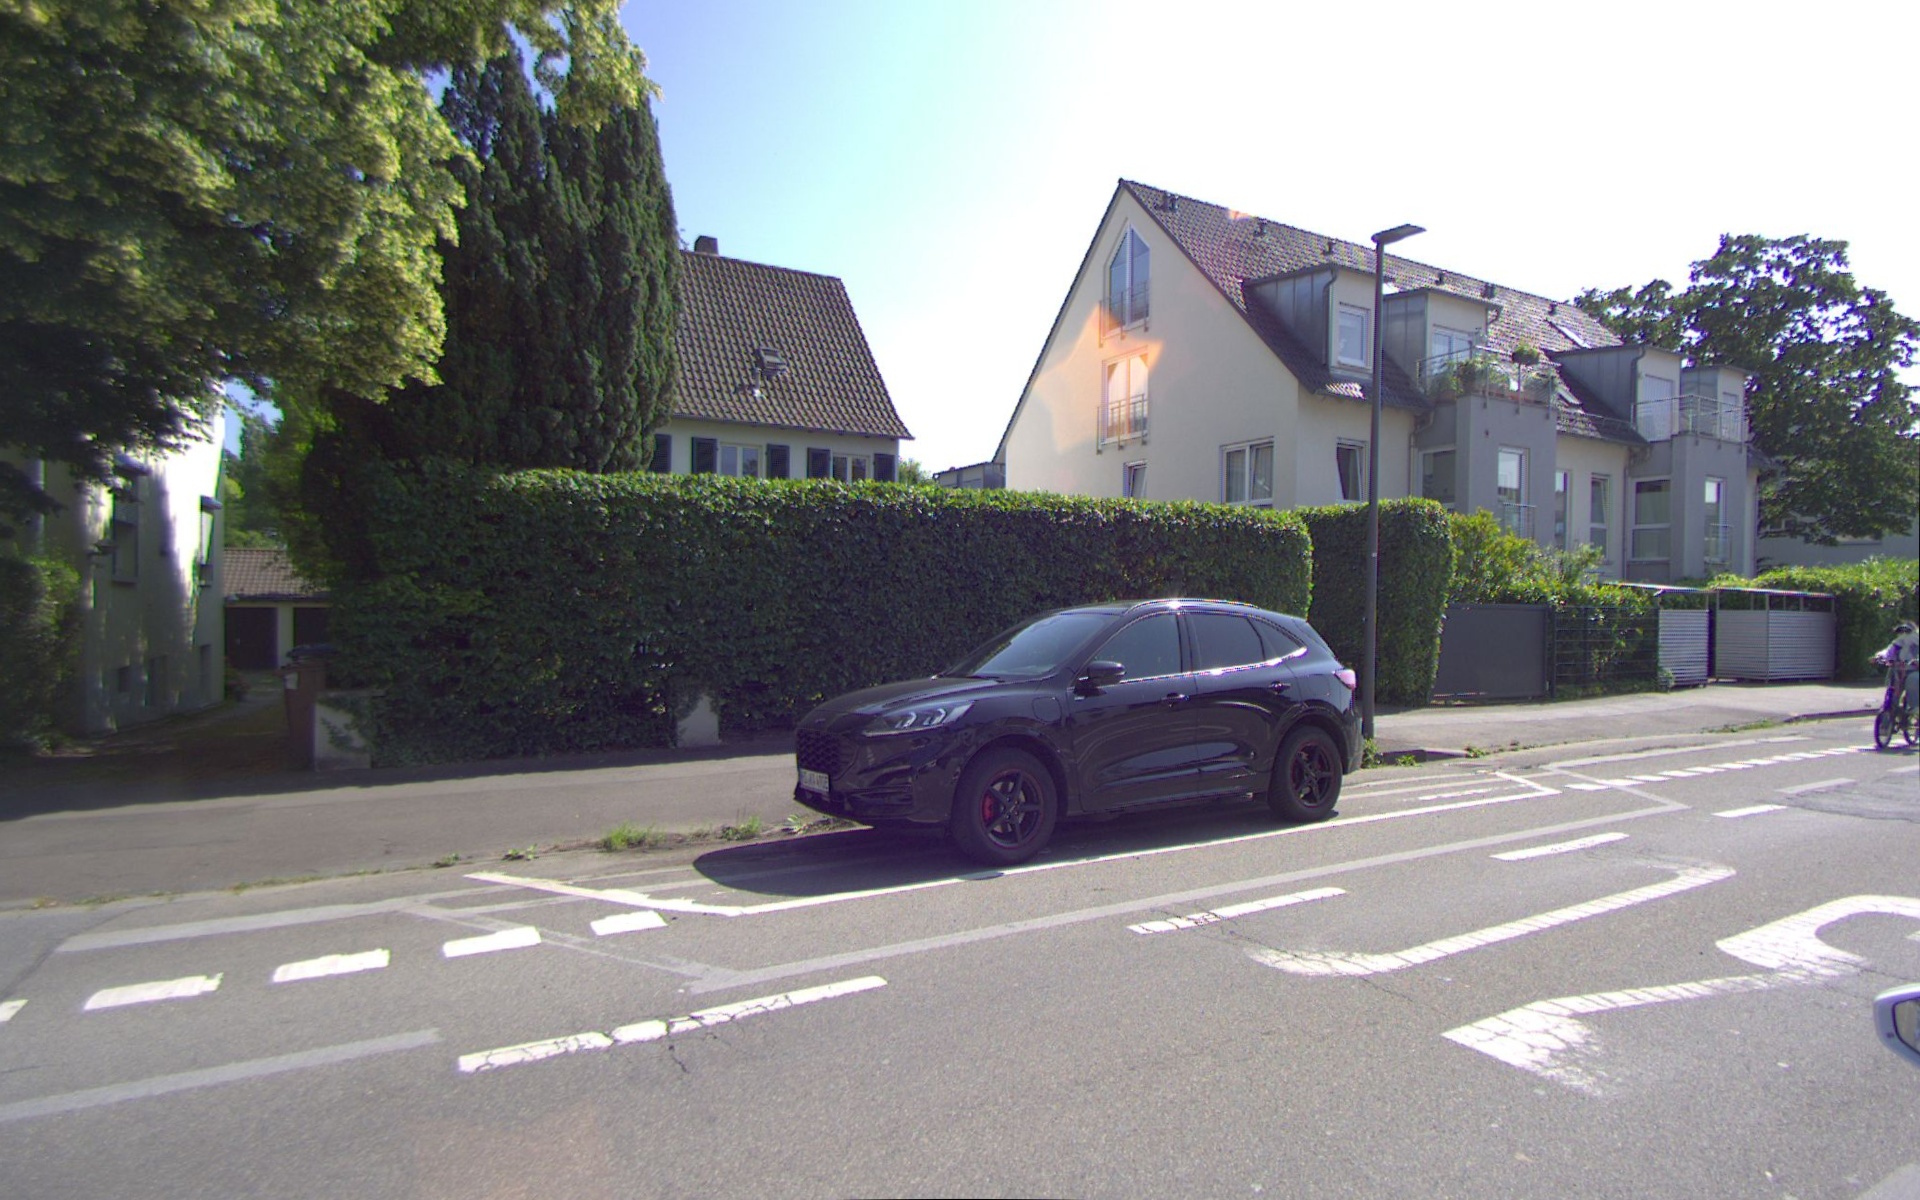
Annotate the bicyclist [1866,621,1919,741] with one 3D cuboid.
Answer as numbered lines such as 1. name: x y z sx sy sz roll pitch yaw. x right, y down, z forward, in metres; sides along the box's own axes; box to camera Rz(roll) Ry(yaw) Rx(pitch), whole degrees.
1. bicyclist: 12.159 1.018 12.893 0.953 1.473 0.488 1 -2 -30

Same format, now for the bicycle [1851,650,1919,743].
1. bicycle: 12.056 1.208 12.842 1.330 1.119 0.598 1 -2 -30

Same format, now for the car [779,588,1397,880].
1. car: 1.048 0.815 7.555 4.395 1.632 1.843 1 -3 -30
